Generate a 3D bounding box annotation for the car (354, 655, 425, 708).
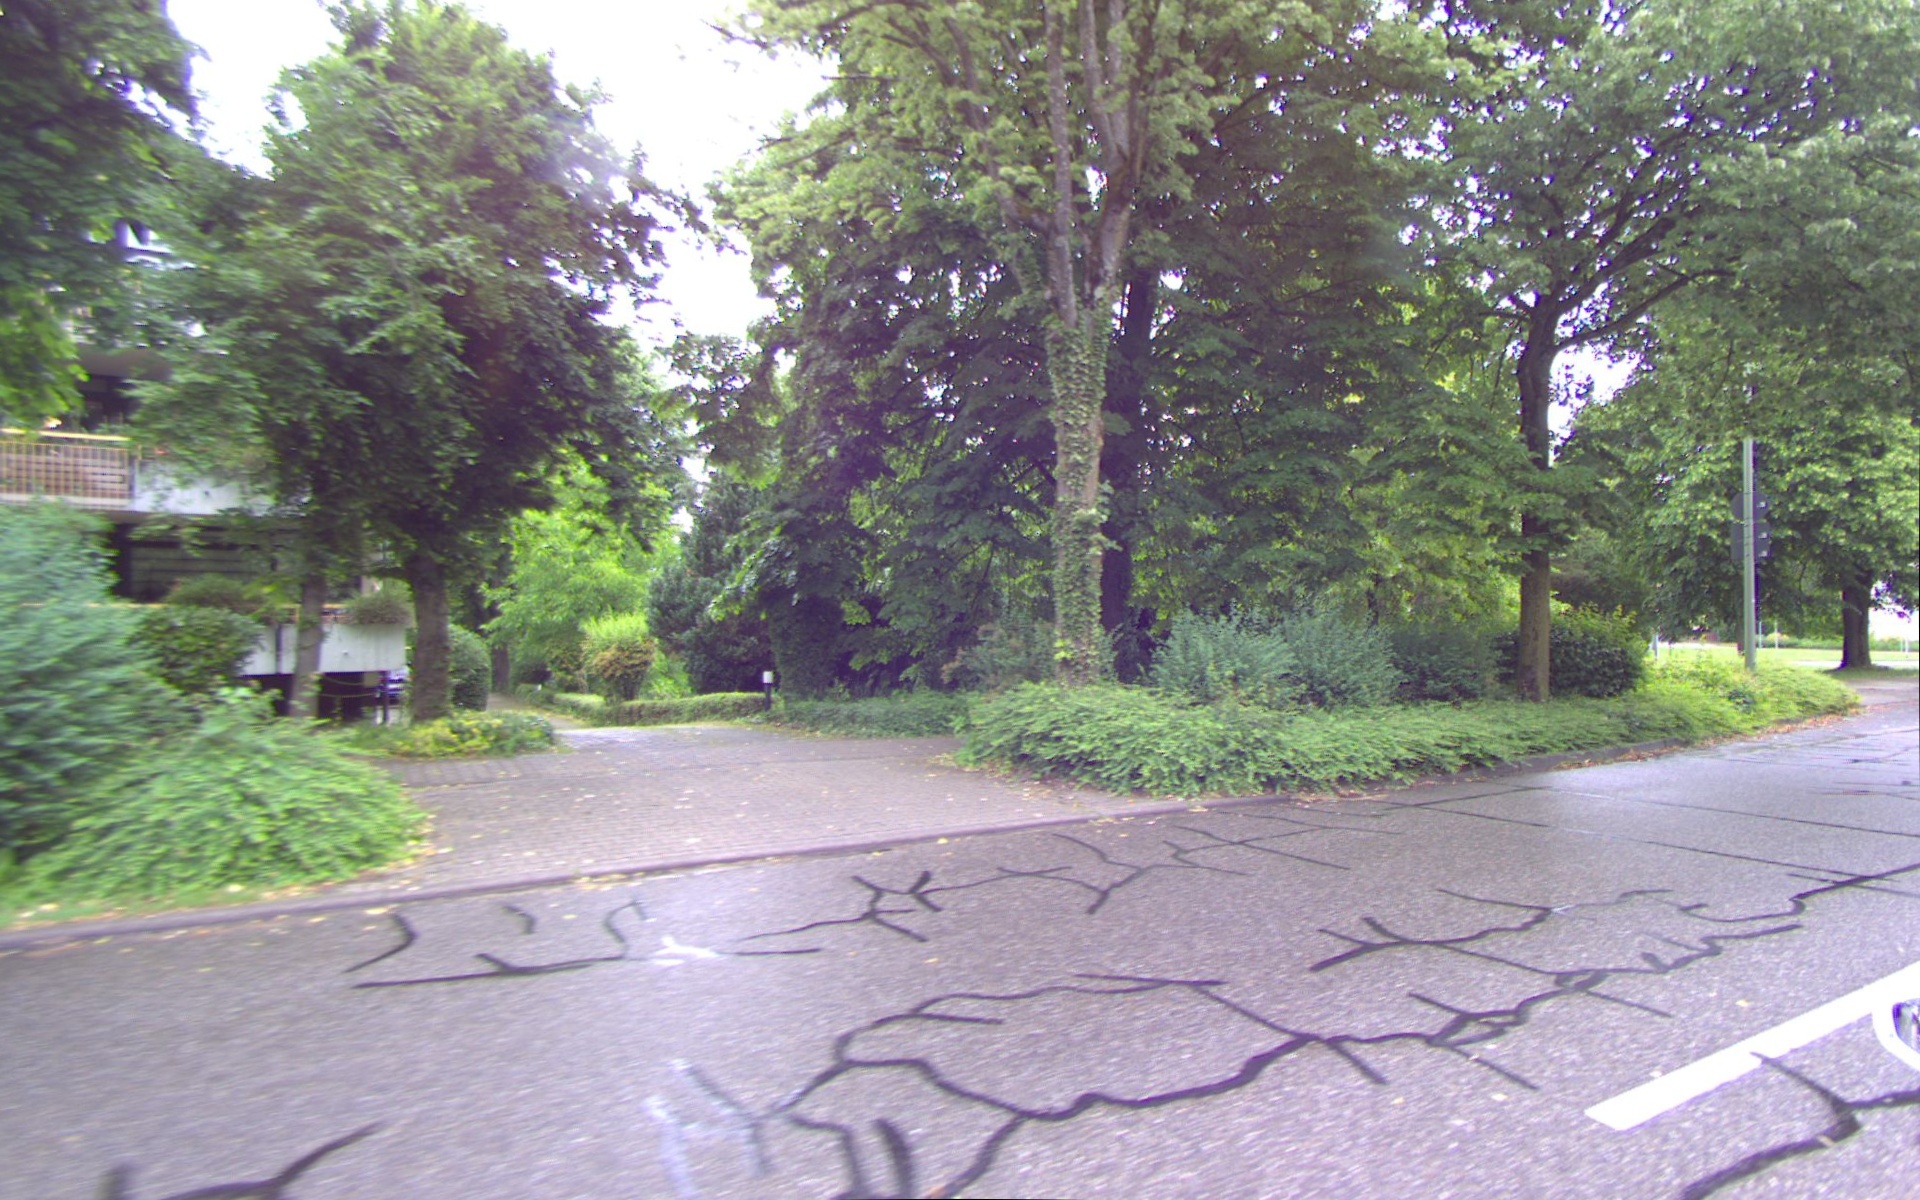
[{"bbox_3d":[-22.934,3.205,40.289,1.810,1.740,3.954,2,0,-39],"label":"car"}]
